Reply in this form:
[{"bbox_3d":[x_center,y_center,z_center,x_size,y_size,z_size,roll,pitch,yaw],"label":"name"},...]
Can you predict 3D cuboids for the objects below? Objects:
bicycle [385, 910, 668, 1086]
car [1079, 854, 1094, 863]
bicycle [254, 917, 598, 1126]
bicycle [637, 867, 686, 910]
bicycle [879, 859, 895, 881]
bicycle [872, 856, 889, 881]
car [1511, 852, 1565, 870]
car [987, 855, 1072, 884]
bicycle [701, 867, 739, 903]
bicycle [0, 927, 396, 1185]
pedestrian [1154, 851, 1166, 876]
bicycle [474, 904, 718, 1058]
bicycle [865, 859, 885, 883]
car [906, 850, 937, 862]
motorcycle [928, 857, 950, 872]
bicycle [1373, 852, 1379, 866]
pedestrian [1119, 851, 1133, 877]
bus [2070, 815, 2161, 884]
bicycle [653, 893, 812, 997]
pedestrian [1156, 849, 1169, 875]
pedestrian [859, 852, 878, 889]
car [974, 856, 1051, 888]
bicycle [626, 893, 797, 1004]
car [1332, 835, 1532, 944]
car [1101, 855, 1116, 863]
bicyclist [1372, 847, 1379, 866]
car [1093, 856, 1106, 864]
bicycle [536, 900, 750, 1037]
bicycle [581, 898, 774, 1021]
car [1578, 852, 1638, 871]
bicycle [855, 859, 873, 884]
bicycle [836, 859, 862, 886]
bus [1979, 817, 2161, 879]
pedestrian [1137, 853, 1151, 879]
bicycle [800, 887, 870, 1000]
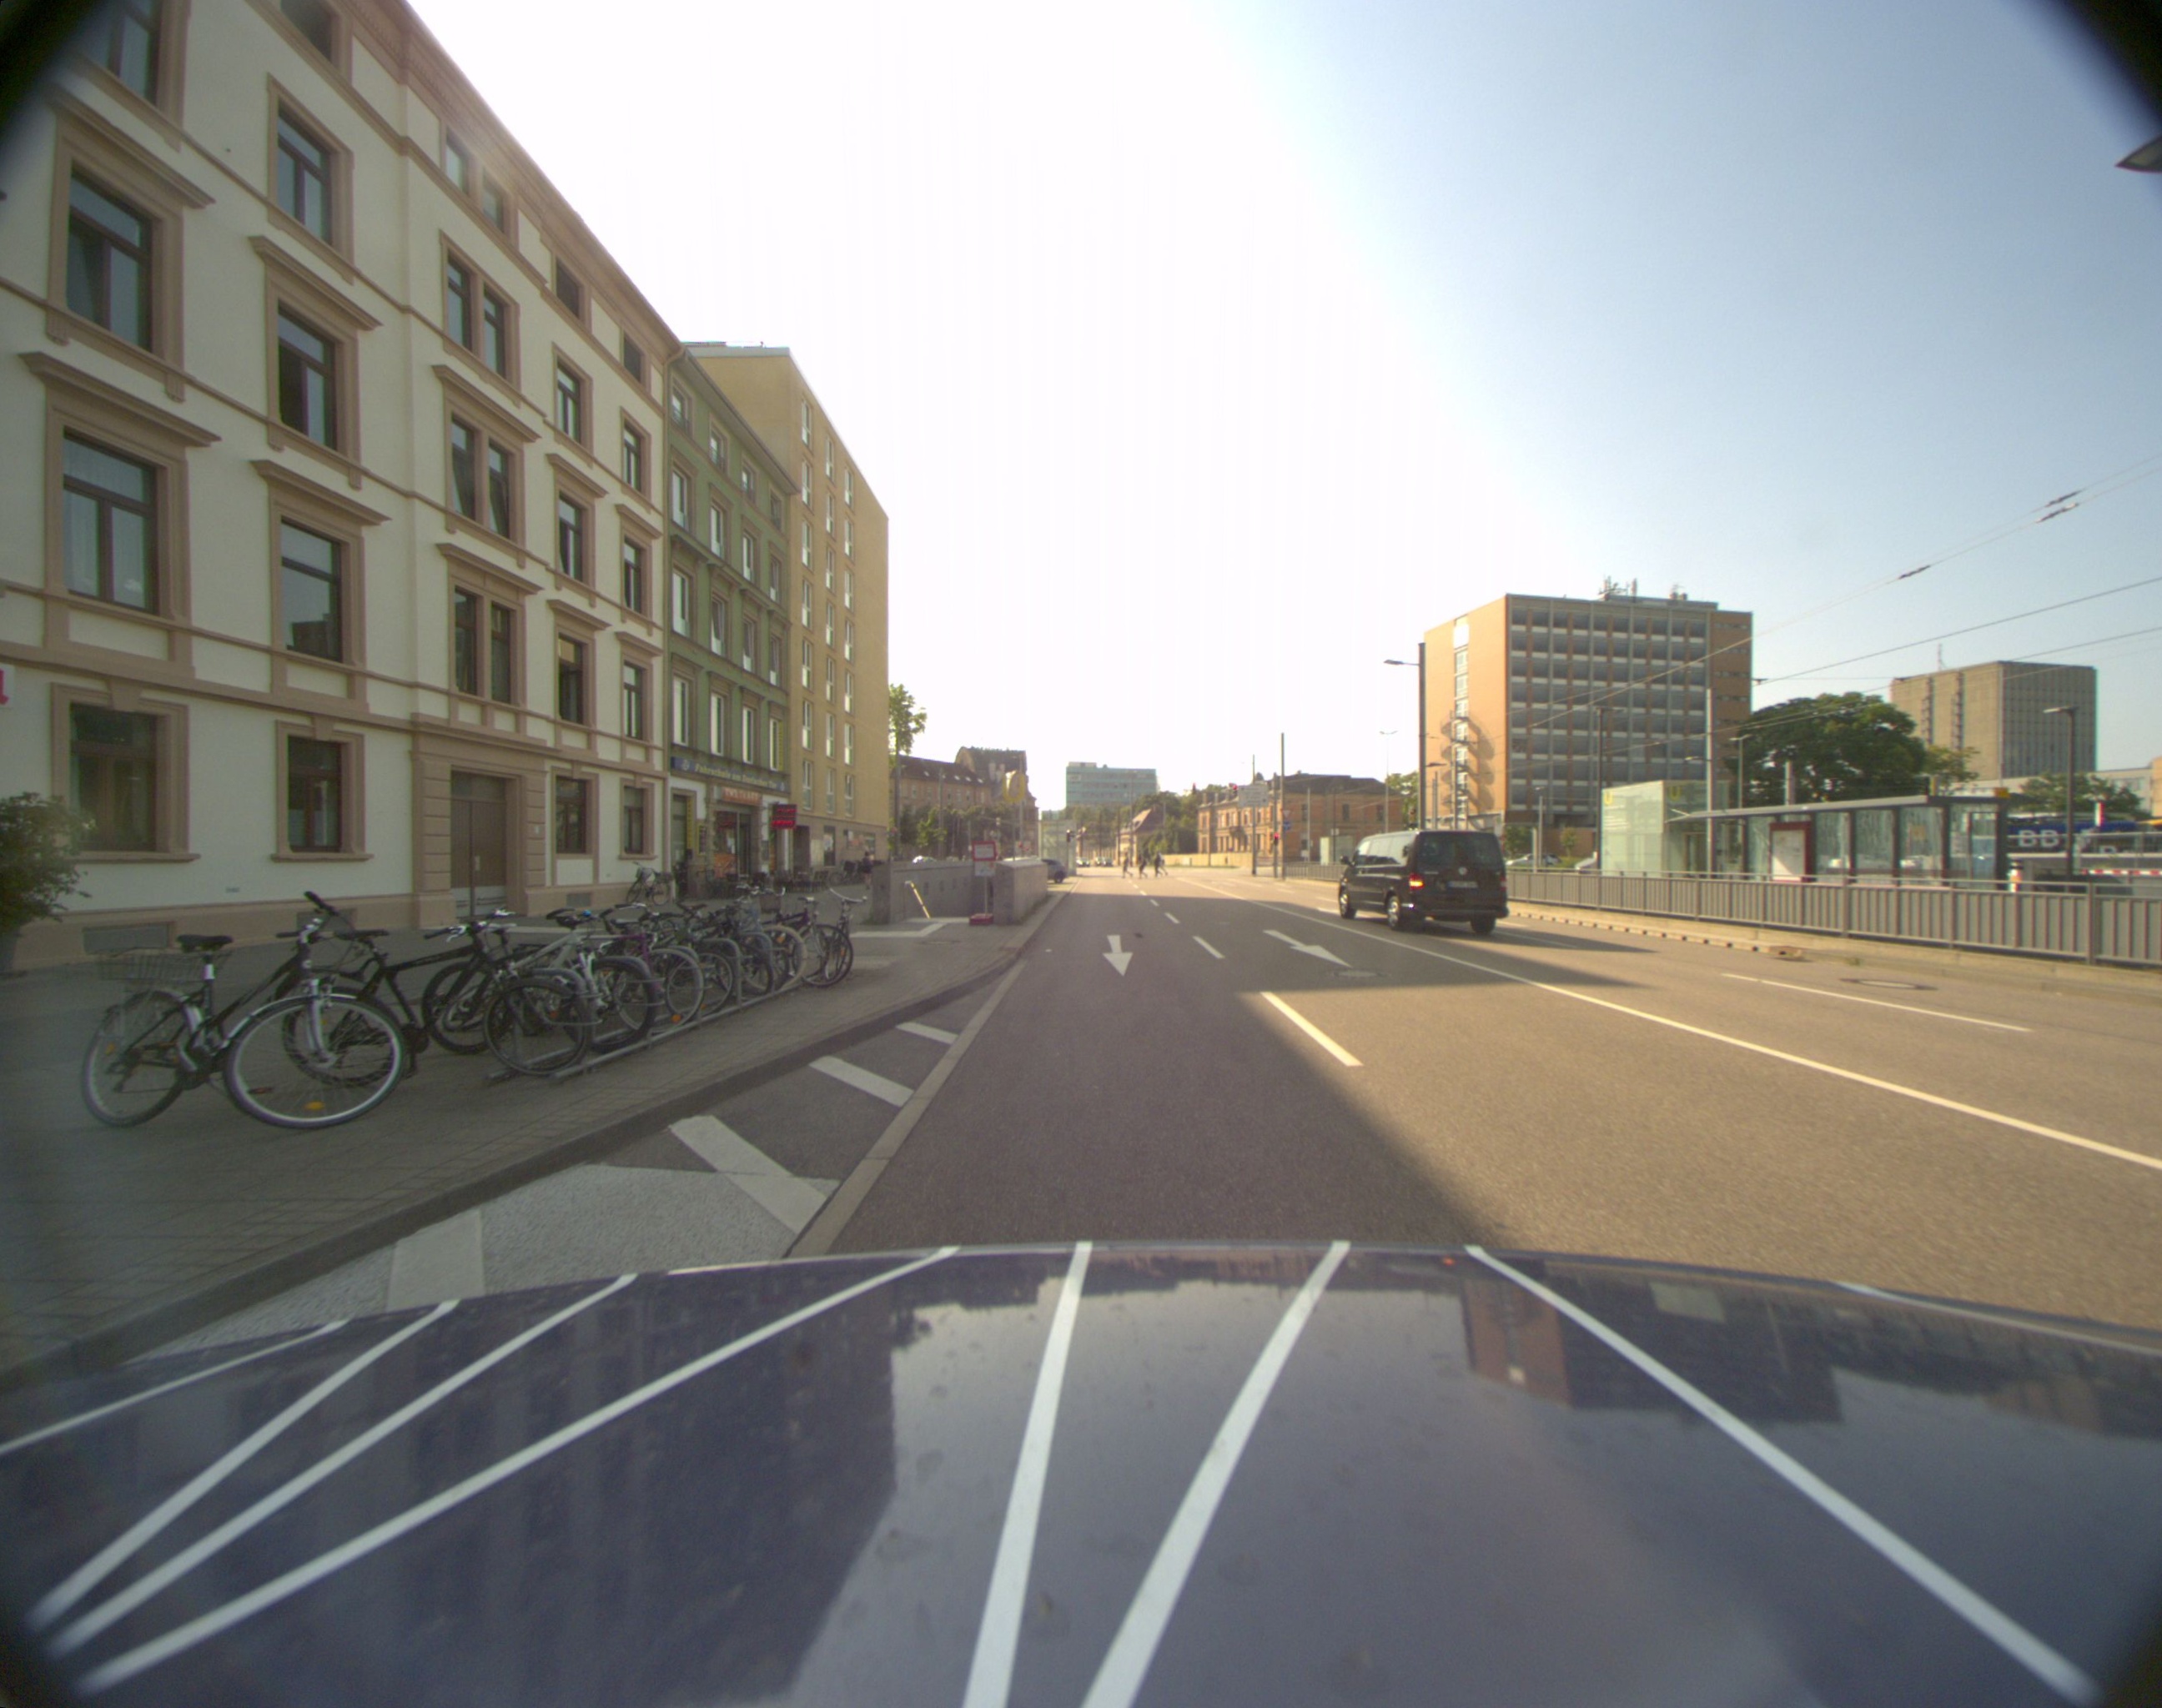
[{"bbox_3d":[-3.823,0.979,5.303,1.637,1.142,0.385,0,1,-3],"label":"bicycle"},{"bbox_3d":[0.837,0.765,124.266,1.927,1.368,3.997,0,0,-6],"label":"car"},{"bbox_3d":[-3.837,0.964,4.516,1.637,1.142,0.385,0,1,-3],"label":"bicycle"},{"bbox_3d":[-11.940,0.958,21.681,0.384,1.127,1.719,0,0,2],"label":"bicycle"},{"bbox_3d":[-11.514,0.940,45.120,0.470,1.254,1.636,0,0,1],"label":"bicycle"},{"bbox_3d":[-10.564,0.749,40.124,0.604,1.254,1.996,0,0,-6],"label":"bicycle"},{"bbox_3d":[45.819,0.732,76.298,4.280,1.696,1.955,0,-2,18],"label":"car"},{"bbox_3d":[-2.814,0.823,41.840,4.418,1.415,1.842,-1,1,-40],"label":"car"},{"bbox_3d":[-12.048,1.018,25.395,0.384,1.127,1.719,0,0,2],"label":"bicycle"},{"bbox_3d":[-4.593,0.981,3.905,1.636,1.142,0.602,0,1,3],"label":"bicycle"},{"bbox_3d":[5.085,0.632,48.907,0.634,1.588,0.468,2,1,0],"label":"pedestrian"},{"bbox_3d":[-3.808,0.986,6.027,1.637,1.142,0.385,0,1,-3],"label":"bicycle"},{"bbox_3d":[-11.356,0.919,41.968,0.604,1.254,1.849,0,0,1],"label":"bicycle"},{"bbox_3d":[-19.847,0.275,94.591,3.621,1.433,1.807,0,0,33],"label":"car"},{"bbox_3d":[-11.013,0.825,59.035,0.704,1.140,2.304,0,0,17],"label":"motorcycle"},{"bbox_3d":[24.621,0.451,63.450,0.311,1.158,1.501,0,0,17],"label":"bicycle"},{"bbox_3d":[2.920,0.637,49.268,0.816,1.683,0.651,2,1,2],"label":"pedestrian"},{"bbox_3d":[53.949,-0.184,32.826,13.277,3.160,3.232,0,0,44],"label":"bus"},{"bbox_3d":[-4.013,1.040,8.810,1.637,1.142,0.385,0,1,-3],"label":"bicycle"},{"bbox_3d":[5.612,0.544,52.261,0.834,1.778,0.729,2,1,9],"label":"pedestrian"},{"bbox_3d":[-9.452,0.726,33.812,0.610,1.620,0.737,0,1,2],"label":"pedestrian"},{"bbox_3d":[-3.382,0.854,38.039,3.535,1.455,1.618,-1,1,-40],"label":"car"},{"bbox_3d":[-3.990,1.008,8.257,1.637,1.142,0.385,0,1,-3],"label":"bicycle"},{"bbox_3d":[6.972,0.614,15.766,1.998,1.893,4.716,1,0,1],"label":"car"},{"bbox_3d":[4.341,0.809,120.883,1.693,1.319,3.997,0,0,-6],"label":"car"},{"bbox_3d":[24.596,0.215,63.478,0.511,1.620,0.808,0,0,16],"label":"bicyclist"},{"bbox_3d":[3.131,1.056,128.710,1.693,1.319,3.997,0,0,-6],"label":"car"},{"bbox_3d":[-3.836,0.992,6.715,1.637,1.142,0.385,0,1,-3],"label":"bicycle"},{"bbox_3d":[-3.896,1.009,7.400,1.637,1.142,0.385,0,1,-3],"label":"bicycle"},{"bbox_3d":[45.438,0.598,65.584,3.990,1.587,2.003,0,0,24],"label":"car"},{"bbox_3d":[-11.281,0.912,39.538,0.604,1.254,1.996,0,0,-6],"label":"bicycle"},{"bbox_3d":[-11.238,0.869,36.888,0.604,1.254,1.997,0,0,1],"label":"bicycle"},{"bbox_3d":[60.095,-0.322,41.979,3.232,3.399,13.277,0,0,-45],"label":"bus"},{"bbox_3d":[3.887,0.728,46.944,0.809,1.539,0.548,2,1,3],"label":"pedestrian"},{"bbox_3d":[-2.905,1.011,9.091,0.408,1.142,1.655,0,0,-4],"label":"bicycle"}]
